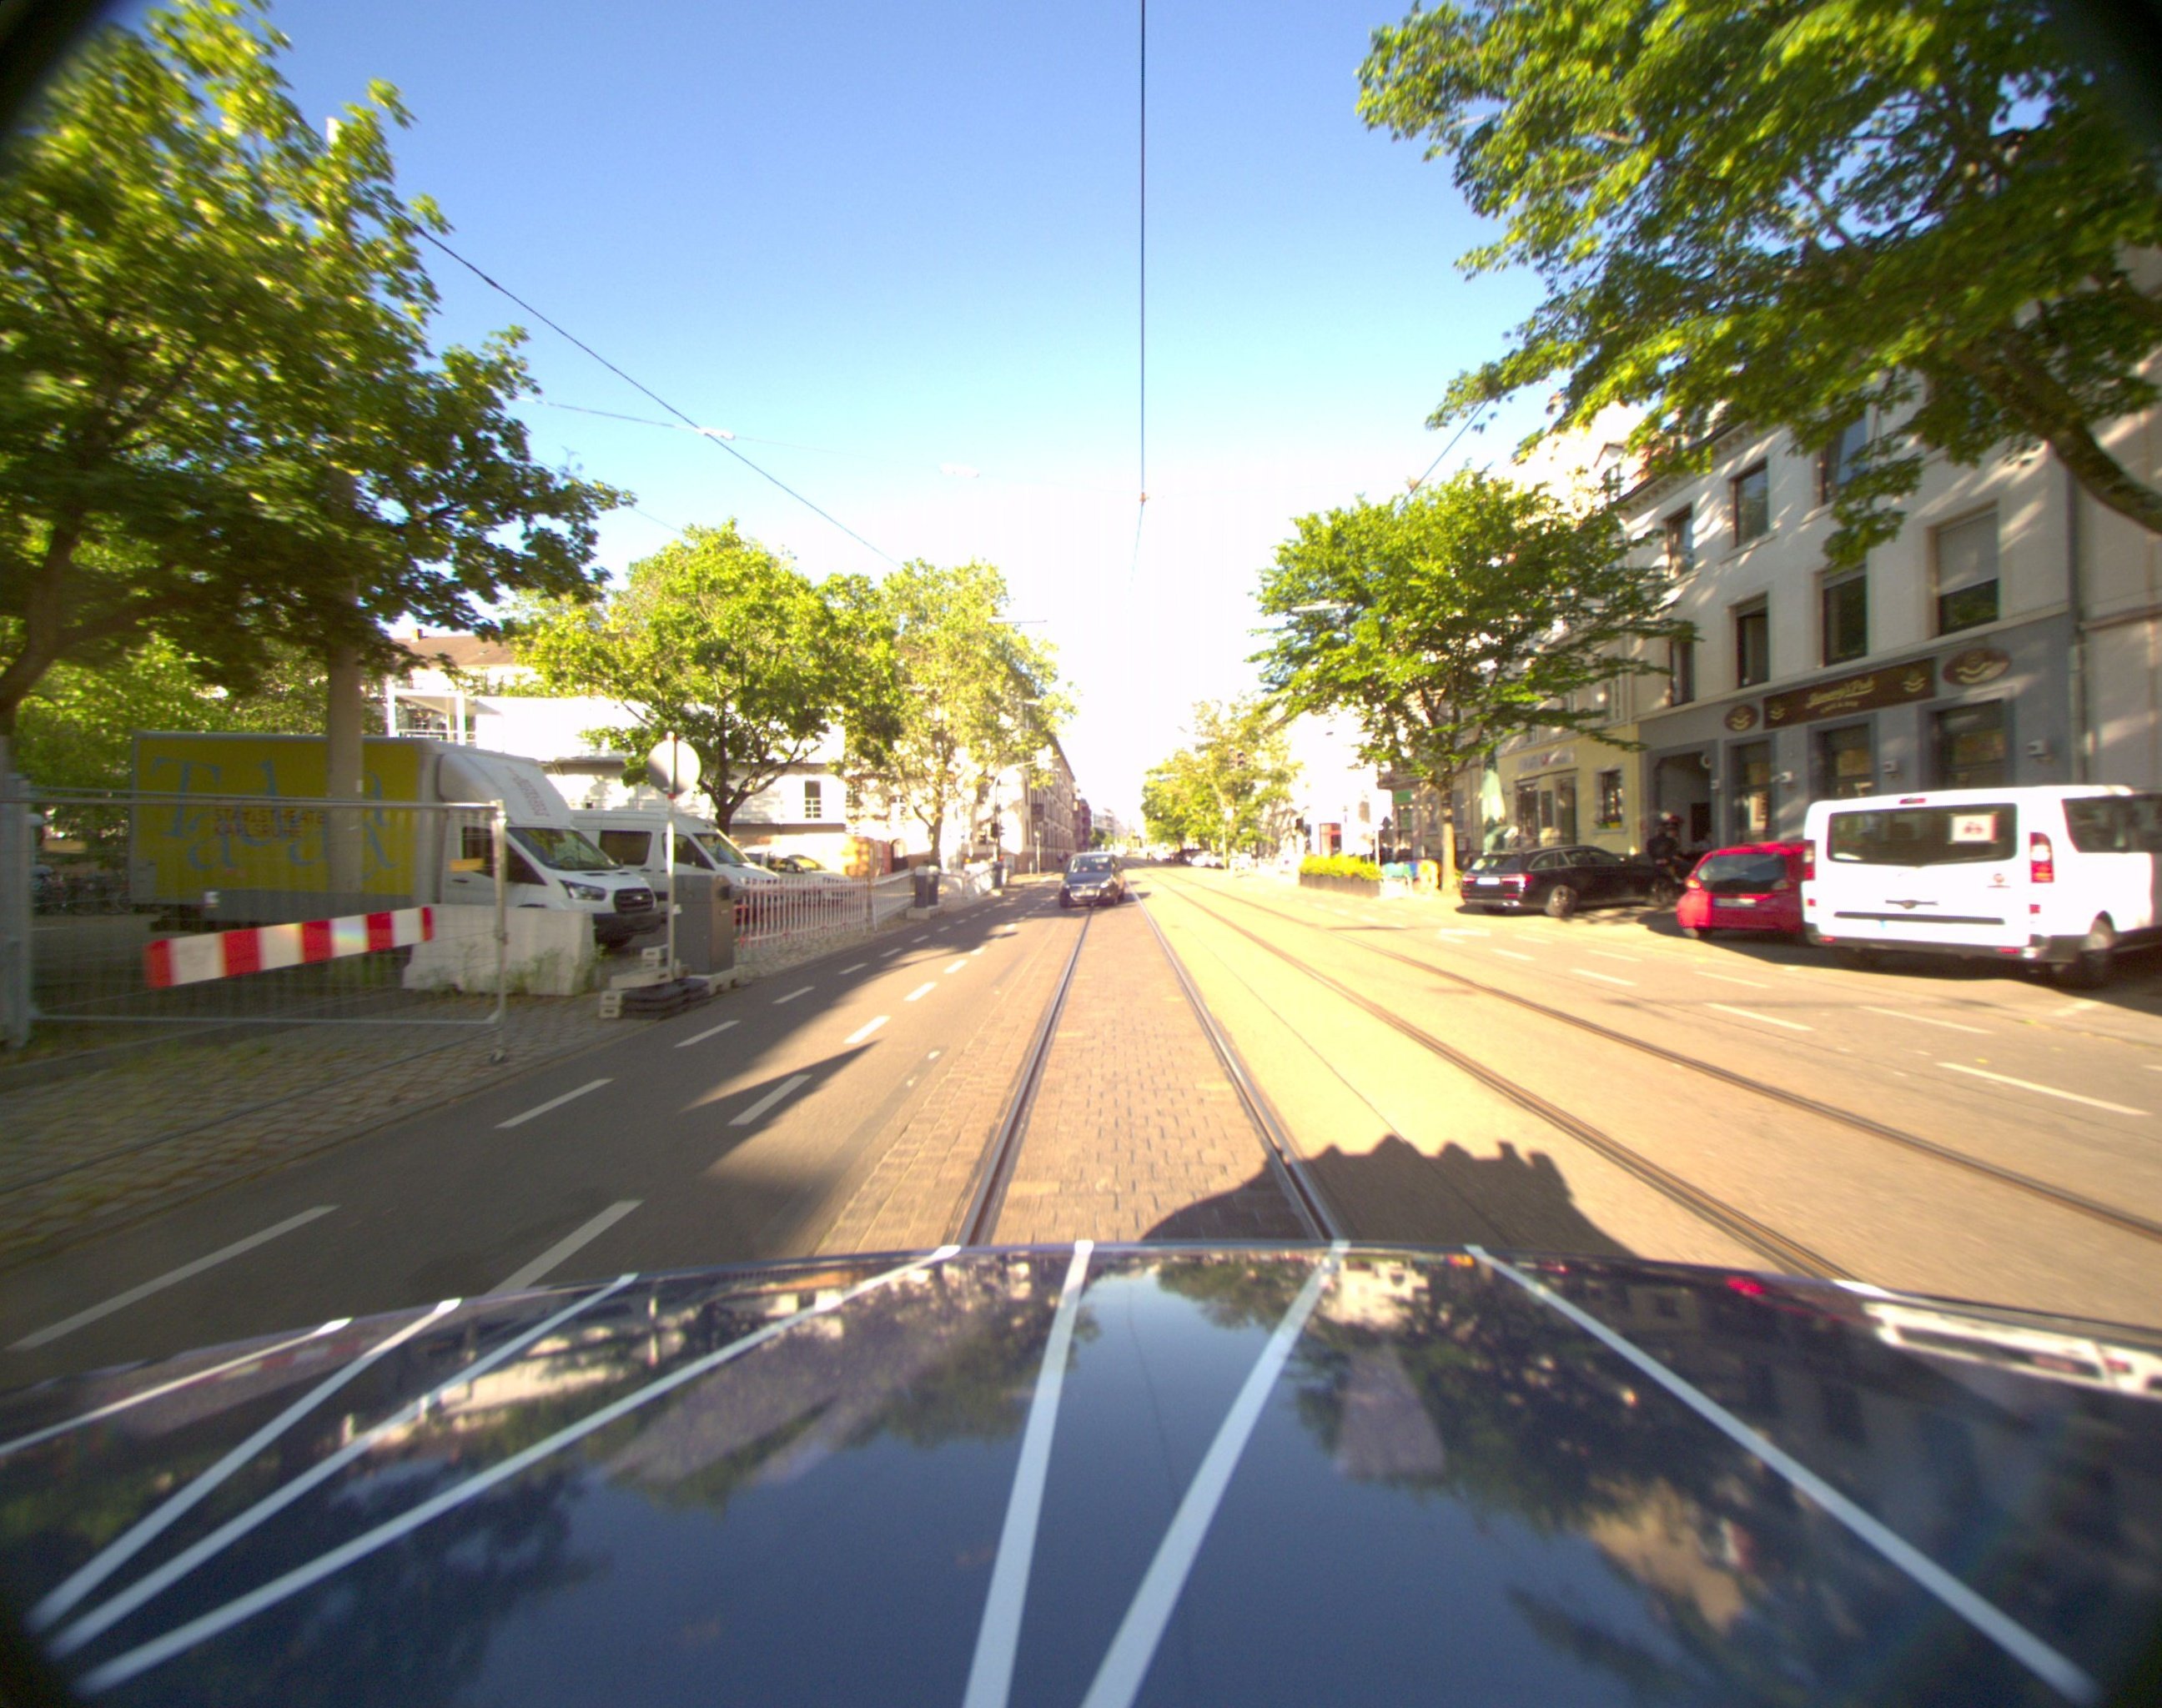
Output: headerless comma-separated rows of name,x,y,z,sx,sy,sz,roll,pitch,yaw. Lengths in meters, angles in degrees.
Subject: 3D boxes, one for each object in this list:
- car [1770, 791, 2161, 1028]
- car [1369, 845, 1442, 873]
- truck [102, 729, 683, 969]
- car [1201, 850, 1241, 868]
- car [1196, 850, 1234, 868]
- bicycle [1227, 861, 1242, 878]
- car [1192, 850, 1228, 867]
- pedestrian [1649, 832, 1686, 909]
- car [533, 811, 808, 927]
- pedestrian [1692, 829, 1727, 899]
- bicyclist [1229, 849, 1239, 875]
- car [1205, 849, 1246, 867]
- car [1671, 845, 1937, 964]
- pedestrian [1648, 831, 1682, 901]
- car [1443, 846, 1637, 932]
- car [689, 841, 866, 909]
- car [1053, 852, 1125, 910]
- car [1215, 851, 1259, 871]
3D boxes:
car,10.251,0.438,8.266,4.945,2.002,2.071,-1,0,-21
car,20.592,0.317,48.403,3.992,1.740,2.002,0,0,14
truck,-10.505,-0.067,12.065,7.092,3.399,2.371,0,1,1
car,12.599,0.402,68.501,3.336,1.445,1.496,-2,2,5
car,12.475,0.461,70.978,3.336,1.445,1.496,-2,2,5
bicycle,8.635,0.850,42.831,0.451,0.931,1.757,0,0,-2
car,12.720,0.440,75.003,3.336,1.445,1.496,-2,2,5
pedestrian,14.514,0.397,18.799,0.454,1.875,0.591,0,1,2
car,-9.452,0.335,17.806,5.335,2.547,2.014,0,1,1
pedestrian,16.371,0.264,19.802,0.487,1.800,0.510,0,1,-2
bicyclist,8.646,0.462,42.853,0.419,1.462,0.590,0,1,-1
car,12.540,0.339,66.110,3.336,1.445,1.496,-2,2,4
car,10.825,0.679,11.398,3.342,1.445,1.494,-3,0,-19
pedestrian,15.362,0.314,20.006,0.487,1.800,0.510,0,1,-2
car,10.059,0.676,16.613,4.005,1.549,1.777,-3,1,-27
car,-9.521,0.636,24.063,4.792,1.998,2.001,-1,1,6
car,0.332,0.760,23.700,1.749,1.612,4.172,-1,0,7
car,12.453,0.562,60.718,3.335,1.445,1.497,-2,2,9
